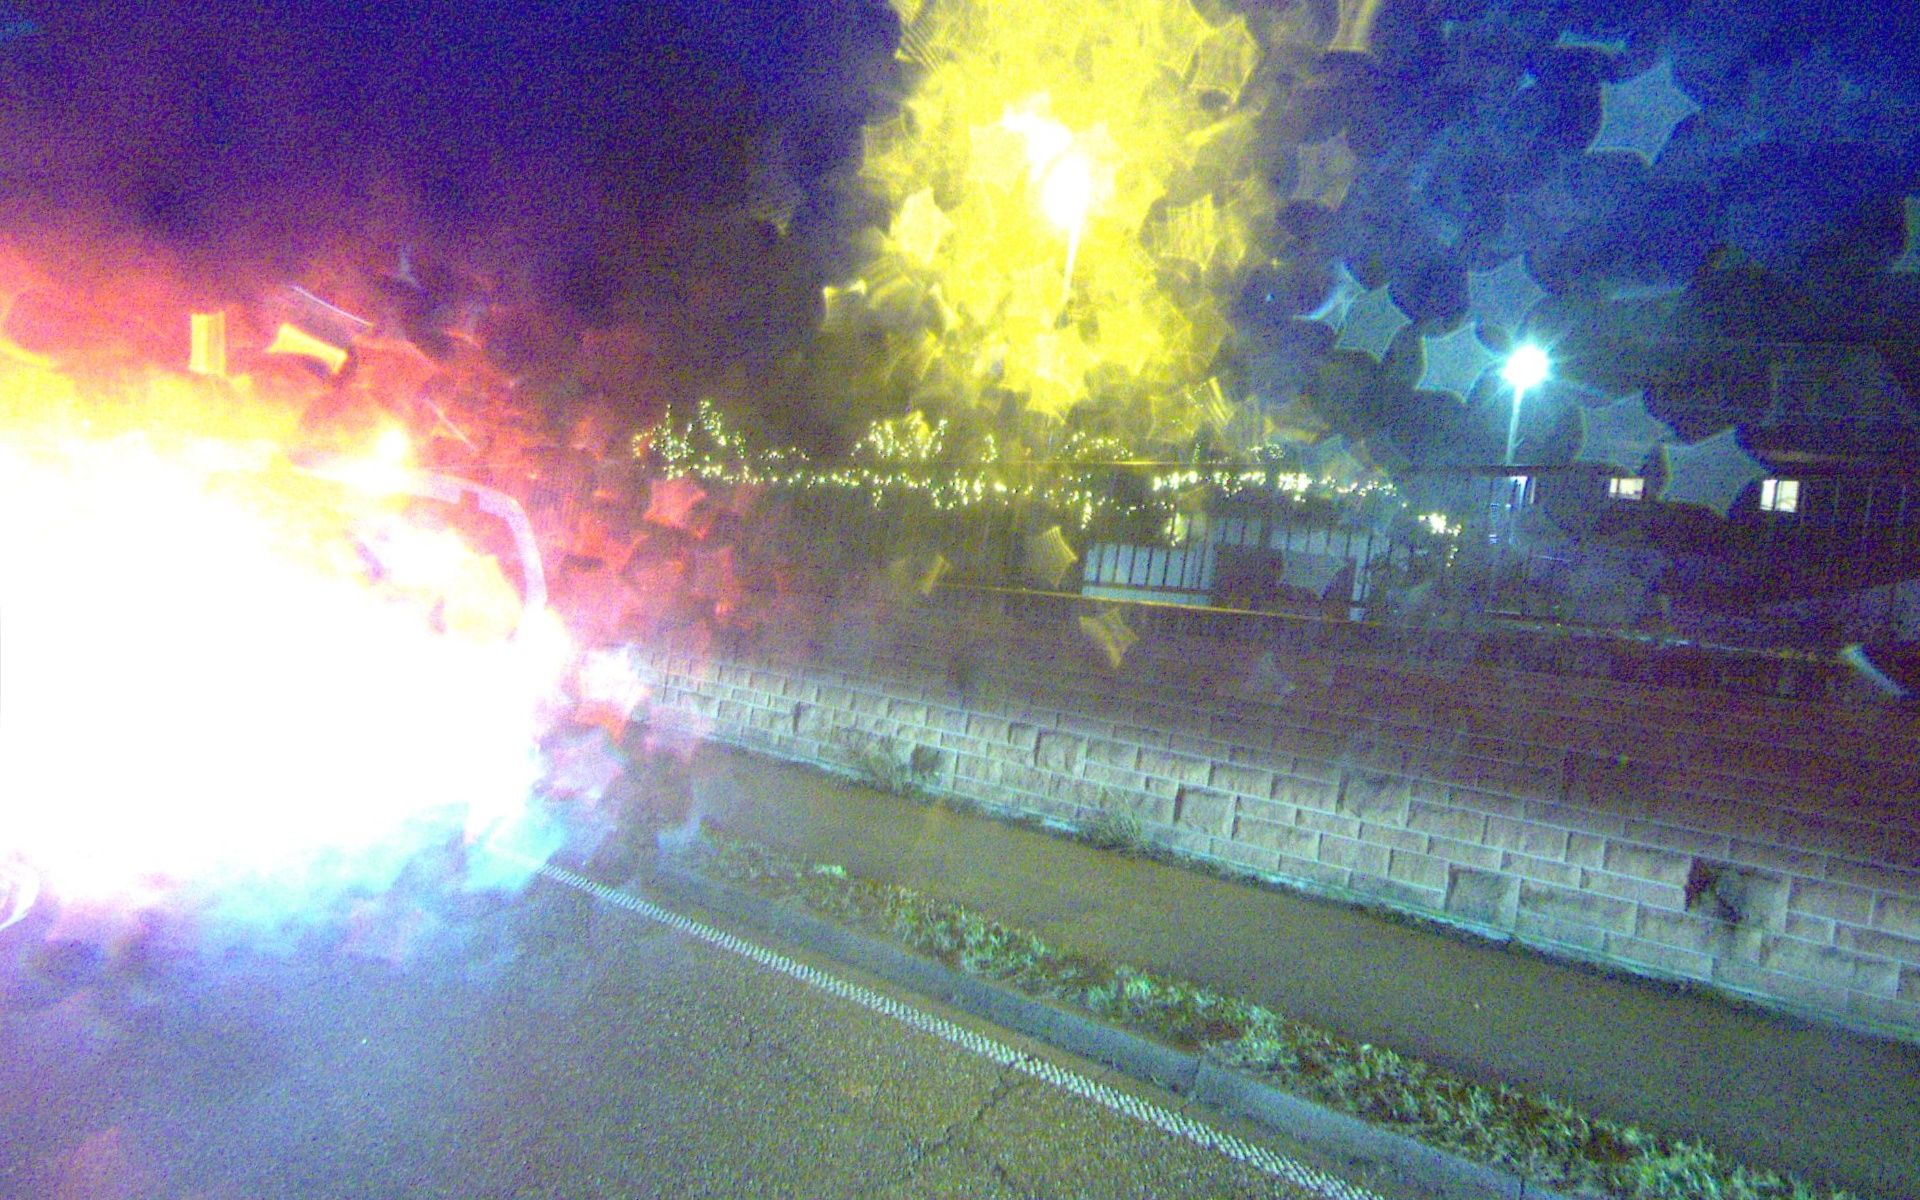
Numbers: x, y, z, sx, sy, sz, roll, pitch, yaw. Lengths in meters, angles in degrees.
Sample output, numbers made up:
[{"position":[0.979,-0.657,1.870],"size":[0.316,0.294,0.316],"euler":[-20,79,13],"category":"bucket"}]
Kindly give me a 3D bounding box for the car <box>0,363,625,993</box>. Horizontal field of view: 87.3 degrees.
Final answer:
[{"position":[-3.920,0.131,4.912],"size":[4.269,1.886,1.855],"euler":[6,-2,32],"category":"car"}]

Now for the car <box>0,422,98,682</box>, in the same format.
[{"position":[-9.640,-0.612,8.763],"size":[3.934,2.070,1.973],"euler":[6,-2,32],"category":"car"}]

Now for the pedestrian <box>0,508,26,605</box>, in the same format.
[{"position":[-17.601,-0.815,18.291],"size":[0.532,1.721,0.624],"euler":[7,-1,29],"category":"pedestrian"}]
